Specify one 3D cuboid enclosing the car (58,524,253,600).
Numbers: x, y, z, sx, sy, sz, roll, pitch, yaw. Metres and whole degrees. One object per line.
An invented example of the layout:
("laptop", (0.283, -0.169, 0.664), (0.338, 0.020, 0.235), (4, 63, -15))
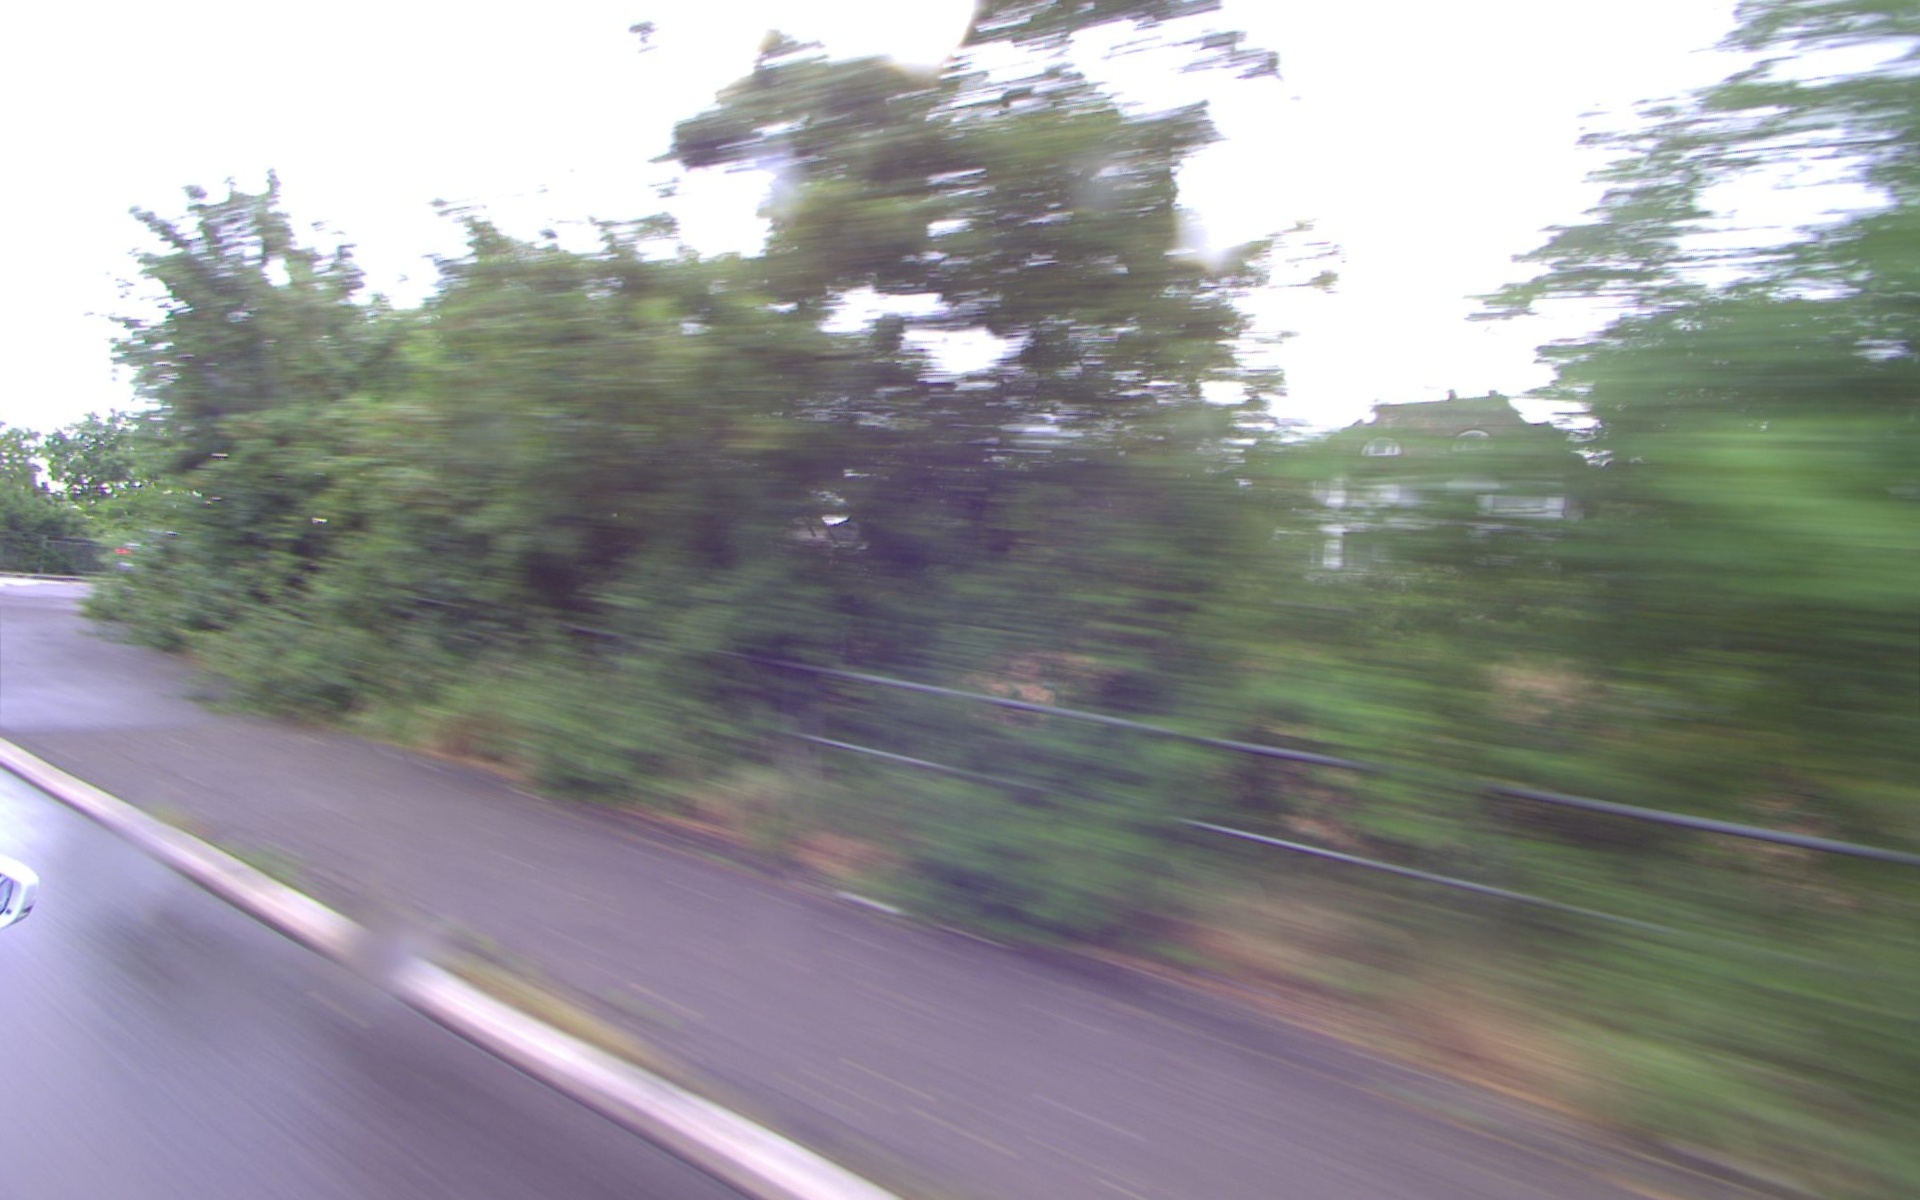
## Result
("car", (-19.110, -0.840, 24.164), (1.865, 1.405, 3.994), (7, -2, -10))
